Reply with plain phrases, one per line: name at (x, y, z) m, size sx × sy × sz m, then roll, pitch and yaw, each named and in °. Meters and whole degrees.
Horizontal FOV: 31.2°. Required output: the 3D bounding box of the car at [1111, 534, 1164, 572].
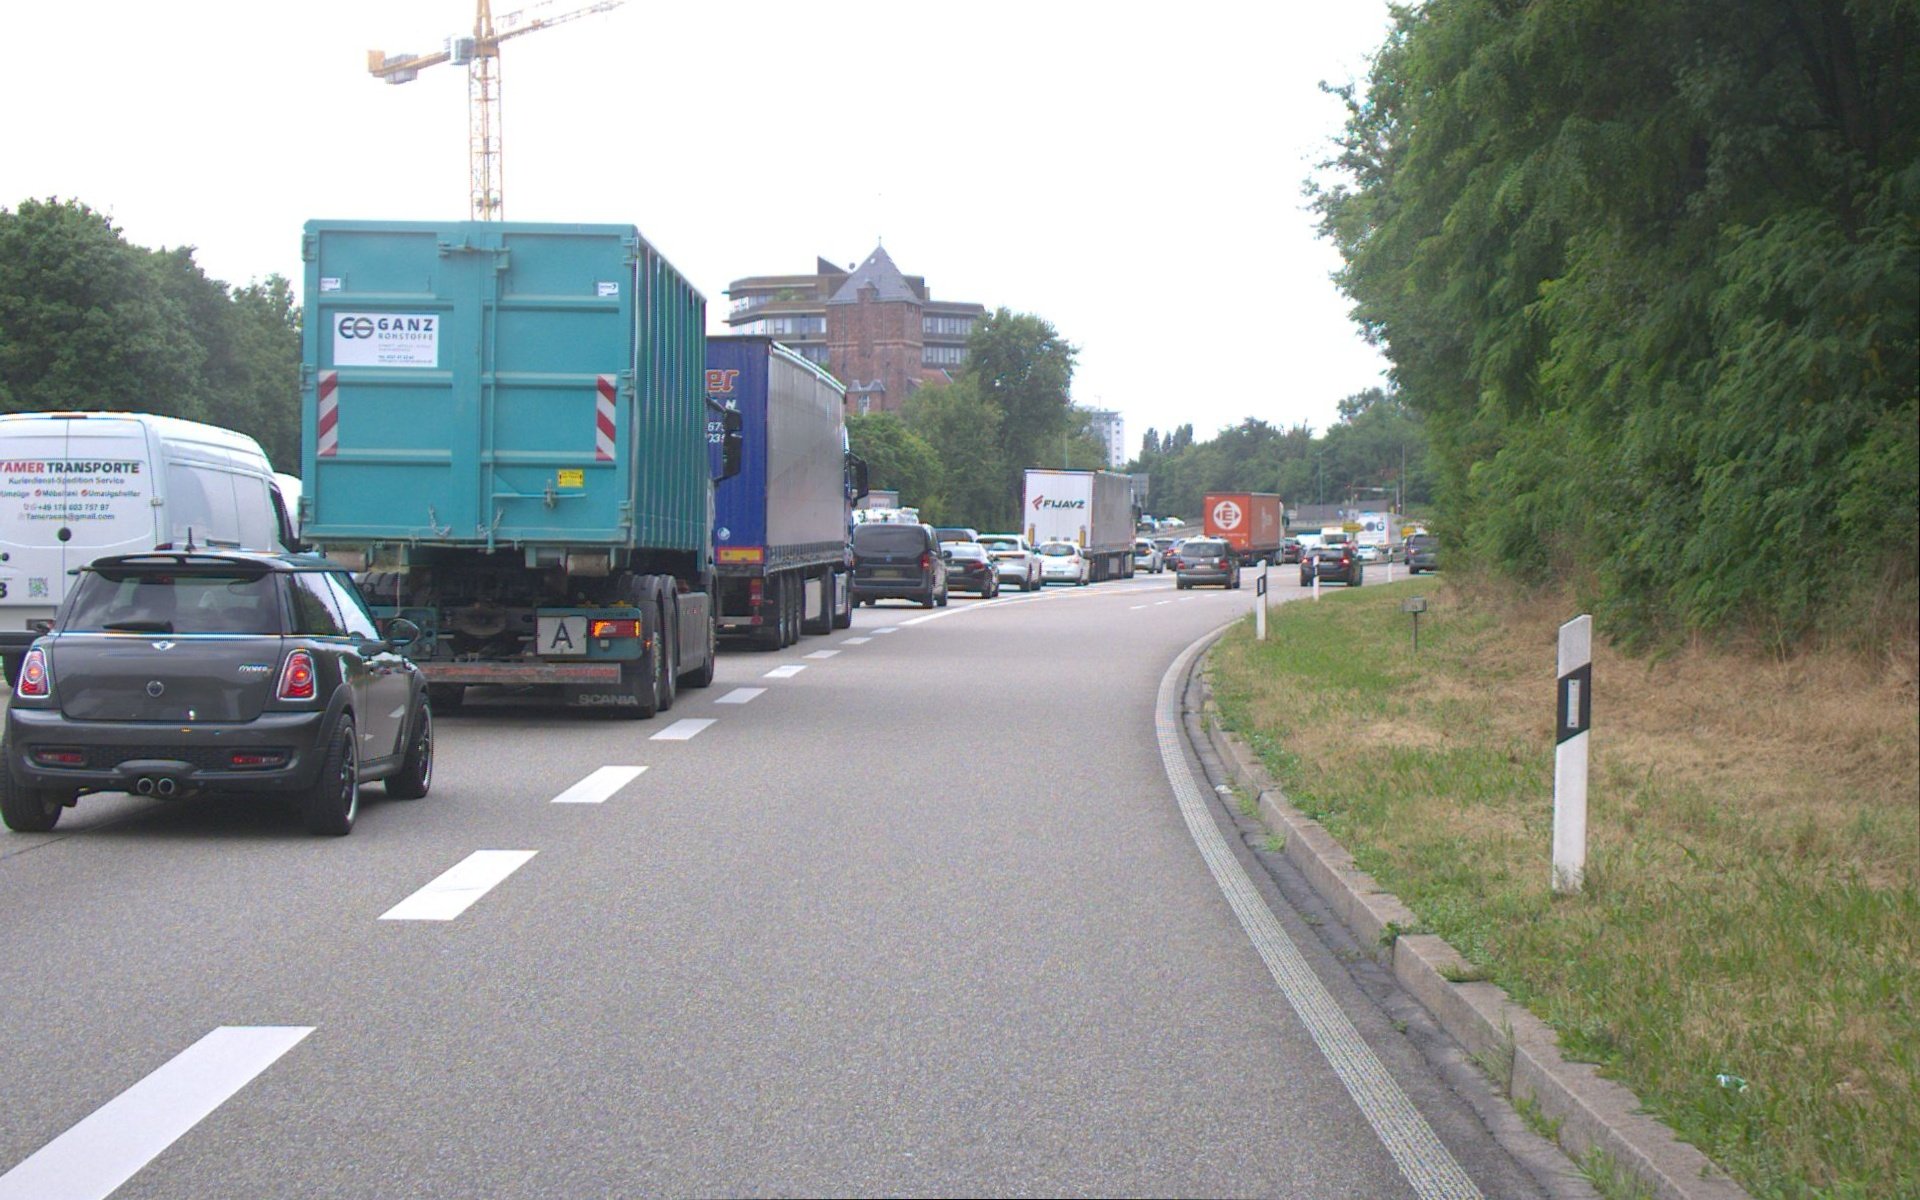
car at (7.904, -2.088, 152.628) m, size 1.800 × 1.598 × 4.256 m, roll 1°, pitch 1°, yaw 10°

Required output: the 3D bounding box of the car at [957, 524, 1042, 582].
car at (1.209, -1.424, 102.777) m, size 1.957 × 1.689 × 4.864 m, roll 0°, pitch 1°, yaw 7°

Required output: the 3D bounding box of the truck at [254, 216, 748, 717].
truck at (-3.836, -1.120, 31.816) m, size 2.929 × 3.783 × 11.331 m, roll 0°, pitch 1°, yaw 1°

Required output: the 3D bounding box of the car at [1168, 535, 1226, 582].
car at (7.556, -1.343, 109.748) m, size 1.825 × 1.477 × 4.000 m, roll 0°, pitch 1°, yaw 4°

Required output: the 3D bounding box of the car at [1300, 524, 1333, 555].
car at (23.075, -3.928, 222.489) m, size 1.615 × 2.007 × 3.998 m, roll 0°, pitch 1°, yaw 13°

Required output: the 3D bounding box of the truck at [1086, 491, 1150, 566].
truck at (9.158, -4.078, 198.069) m, size 2.739 × 4.124 × 10.694 m, roll 1°, pitch 1°, yaw 7°

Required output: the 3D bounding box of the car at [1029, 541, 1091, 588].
car at (3.357, -1.194, 114.326) m, size 1.764 × 1.473 × 4.088 m, roll -1°, pitch 1°, yaw 6°

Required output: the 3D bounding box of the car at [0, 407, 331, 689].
car at (-8.228, -0.520, 35.263) m, size 2.222 × 2.569 × 6.798 m, roll 1°, pitch 1°, yaw 0°

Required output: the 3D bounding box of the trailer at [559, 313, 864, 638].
trailer at (-3.290, -1.619, 49.644) m, size 2.627 × 4.009 × 13.463 m, roll 1°, pitch 1°, yaw 3°

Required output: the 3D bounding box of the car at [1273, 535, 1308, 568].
car at (20.281, -2.981, 210.813) m, size 1.615 × 1.941 × 3.703 m, roll 1°, pitch 1°, yaw 13°

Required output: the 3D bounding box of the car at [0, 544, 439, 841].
car at (-3.909, 0.419, 18.425) m, size 1.747 × 1.417 × 3.664 m, roll 0°, pitch 1°, yaw -1°

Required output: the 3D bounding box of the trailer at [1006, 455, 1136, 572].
trailer at (4.231, -3.089, 127.179) m, size 3.300 × 4.022 × 13.093 m, roll 1°, pitch 1°, yaw 8°

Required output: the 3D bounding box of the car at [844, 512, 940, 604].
car at (-1.521, -0.943, 77.232) m, size 1.988 × 1.891 × 4.985 m, roll -3°, pitch 1°, yaw -1°

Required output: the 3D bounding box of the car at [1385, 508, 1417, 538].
car at (29.552, -5.157, 230.361) m, size 1.951 × 2.007 × 3.999 m, roll 0°, pitch 1°, yaw 9°

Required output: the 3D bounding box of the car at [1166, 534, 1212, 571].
car at (10.822, -2.244, 162.324) m, size 1.718 × 1.678 × 3.998 m, roll 1°, pitch 1°, yaw 10°

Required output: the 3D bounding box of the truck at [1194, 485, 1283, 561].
truck at (15.538, -4.238, 190.528) m, size 3.491 × 4.059 × 13.586 m, roll 0°, pitch 1°, yaw 11°

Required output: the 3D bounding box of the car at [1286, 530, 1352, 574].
car at (12.304, -1.651, 117.727) m, size 1.826 × 1.477 × 3.998 m, roll 0°, pitch 1°, yaw 12°

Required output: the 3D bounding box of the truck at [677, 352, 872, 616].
truck at (-2.956, -1.827, 56.400) m, size 2.561 × 4.029 × 6.589 m, roll 1°, pitch 1°, yaw 2°

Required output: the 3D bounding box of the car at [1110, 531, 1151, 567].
car at (7.526, -2.252, 151.527) m, size 1.531 × 1.546 × 3.417 m, roll 0°, pitch 1°, yaw 7°

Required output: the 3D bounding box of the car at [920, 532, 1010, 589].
car at (0.172, -1.051, 90.531) m, size 1.847 × 1.455 × 4.830 m, roll 0°, pitch 1°, yaw 6°

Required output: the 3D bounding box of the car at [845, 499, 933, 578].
car at (-2.343, -2.048, 114.398) m, size 1.994 × 2.545 × 5.360 m, roll 0°, pitch 1°, yaw 9°

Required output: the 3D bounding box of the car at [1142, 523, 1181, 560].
car at (11.267, -3.276, 192.217) m, size 1.818 × 2.007 × 3.999 m, roll 0°, pitch 1°, yaw 9°
